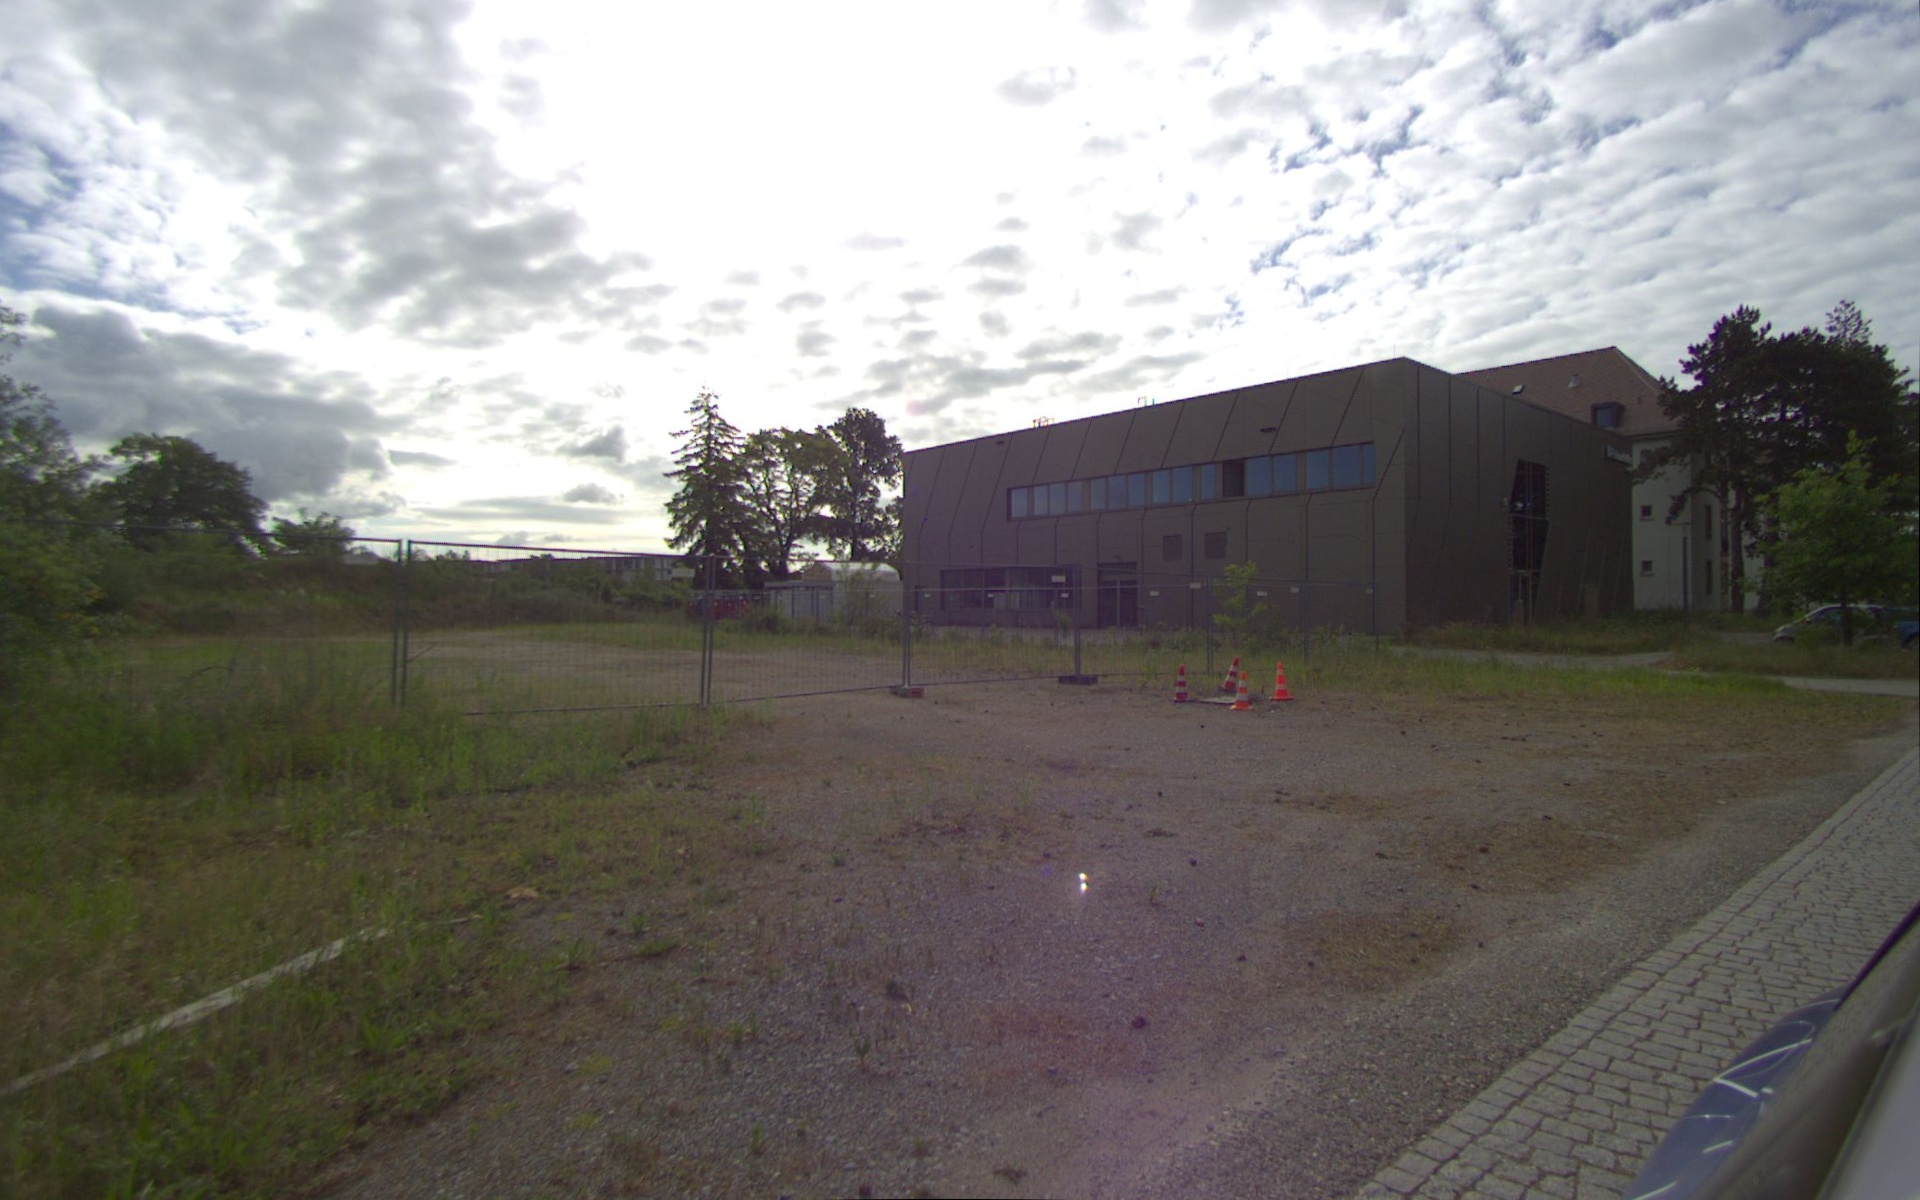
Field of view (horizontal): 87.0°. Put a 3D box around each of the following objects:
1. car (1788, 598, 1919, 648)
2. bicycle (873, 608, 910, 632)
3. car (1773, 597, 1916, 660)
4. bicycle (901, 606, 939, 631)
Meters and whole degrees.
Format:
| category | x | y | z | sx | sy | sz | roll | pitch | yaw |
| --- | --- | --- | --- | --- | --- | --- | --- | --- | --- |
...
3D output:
| category | x | y | z | sx | sy | sz | roll | pitch | yaw |
| --- | --- | --- | --- | --- | --- | --- | --- | --- | --- |
| car | 29.629 | 0.724 | 32.507 | 1.800 | 1.494 | 4.496 | 0 | 1 | -43 |
| bicycle | -3.146 | 0.903 | 46.365 | 1.624 | 1.099 | 0.512 | 0 | -1 | -32 |
| car | 24.213 | 0.734 | 27.758 | 1.623 | 1.576 | 2.716 | 0 | 1 | -39 |
| bicycle | -1.752 | 0.814 | 44.571 | 1.624 | 1.099 | 0.512 | 0 | -1 | -32 |
